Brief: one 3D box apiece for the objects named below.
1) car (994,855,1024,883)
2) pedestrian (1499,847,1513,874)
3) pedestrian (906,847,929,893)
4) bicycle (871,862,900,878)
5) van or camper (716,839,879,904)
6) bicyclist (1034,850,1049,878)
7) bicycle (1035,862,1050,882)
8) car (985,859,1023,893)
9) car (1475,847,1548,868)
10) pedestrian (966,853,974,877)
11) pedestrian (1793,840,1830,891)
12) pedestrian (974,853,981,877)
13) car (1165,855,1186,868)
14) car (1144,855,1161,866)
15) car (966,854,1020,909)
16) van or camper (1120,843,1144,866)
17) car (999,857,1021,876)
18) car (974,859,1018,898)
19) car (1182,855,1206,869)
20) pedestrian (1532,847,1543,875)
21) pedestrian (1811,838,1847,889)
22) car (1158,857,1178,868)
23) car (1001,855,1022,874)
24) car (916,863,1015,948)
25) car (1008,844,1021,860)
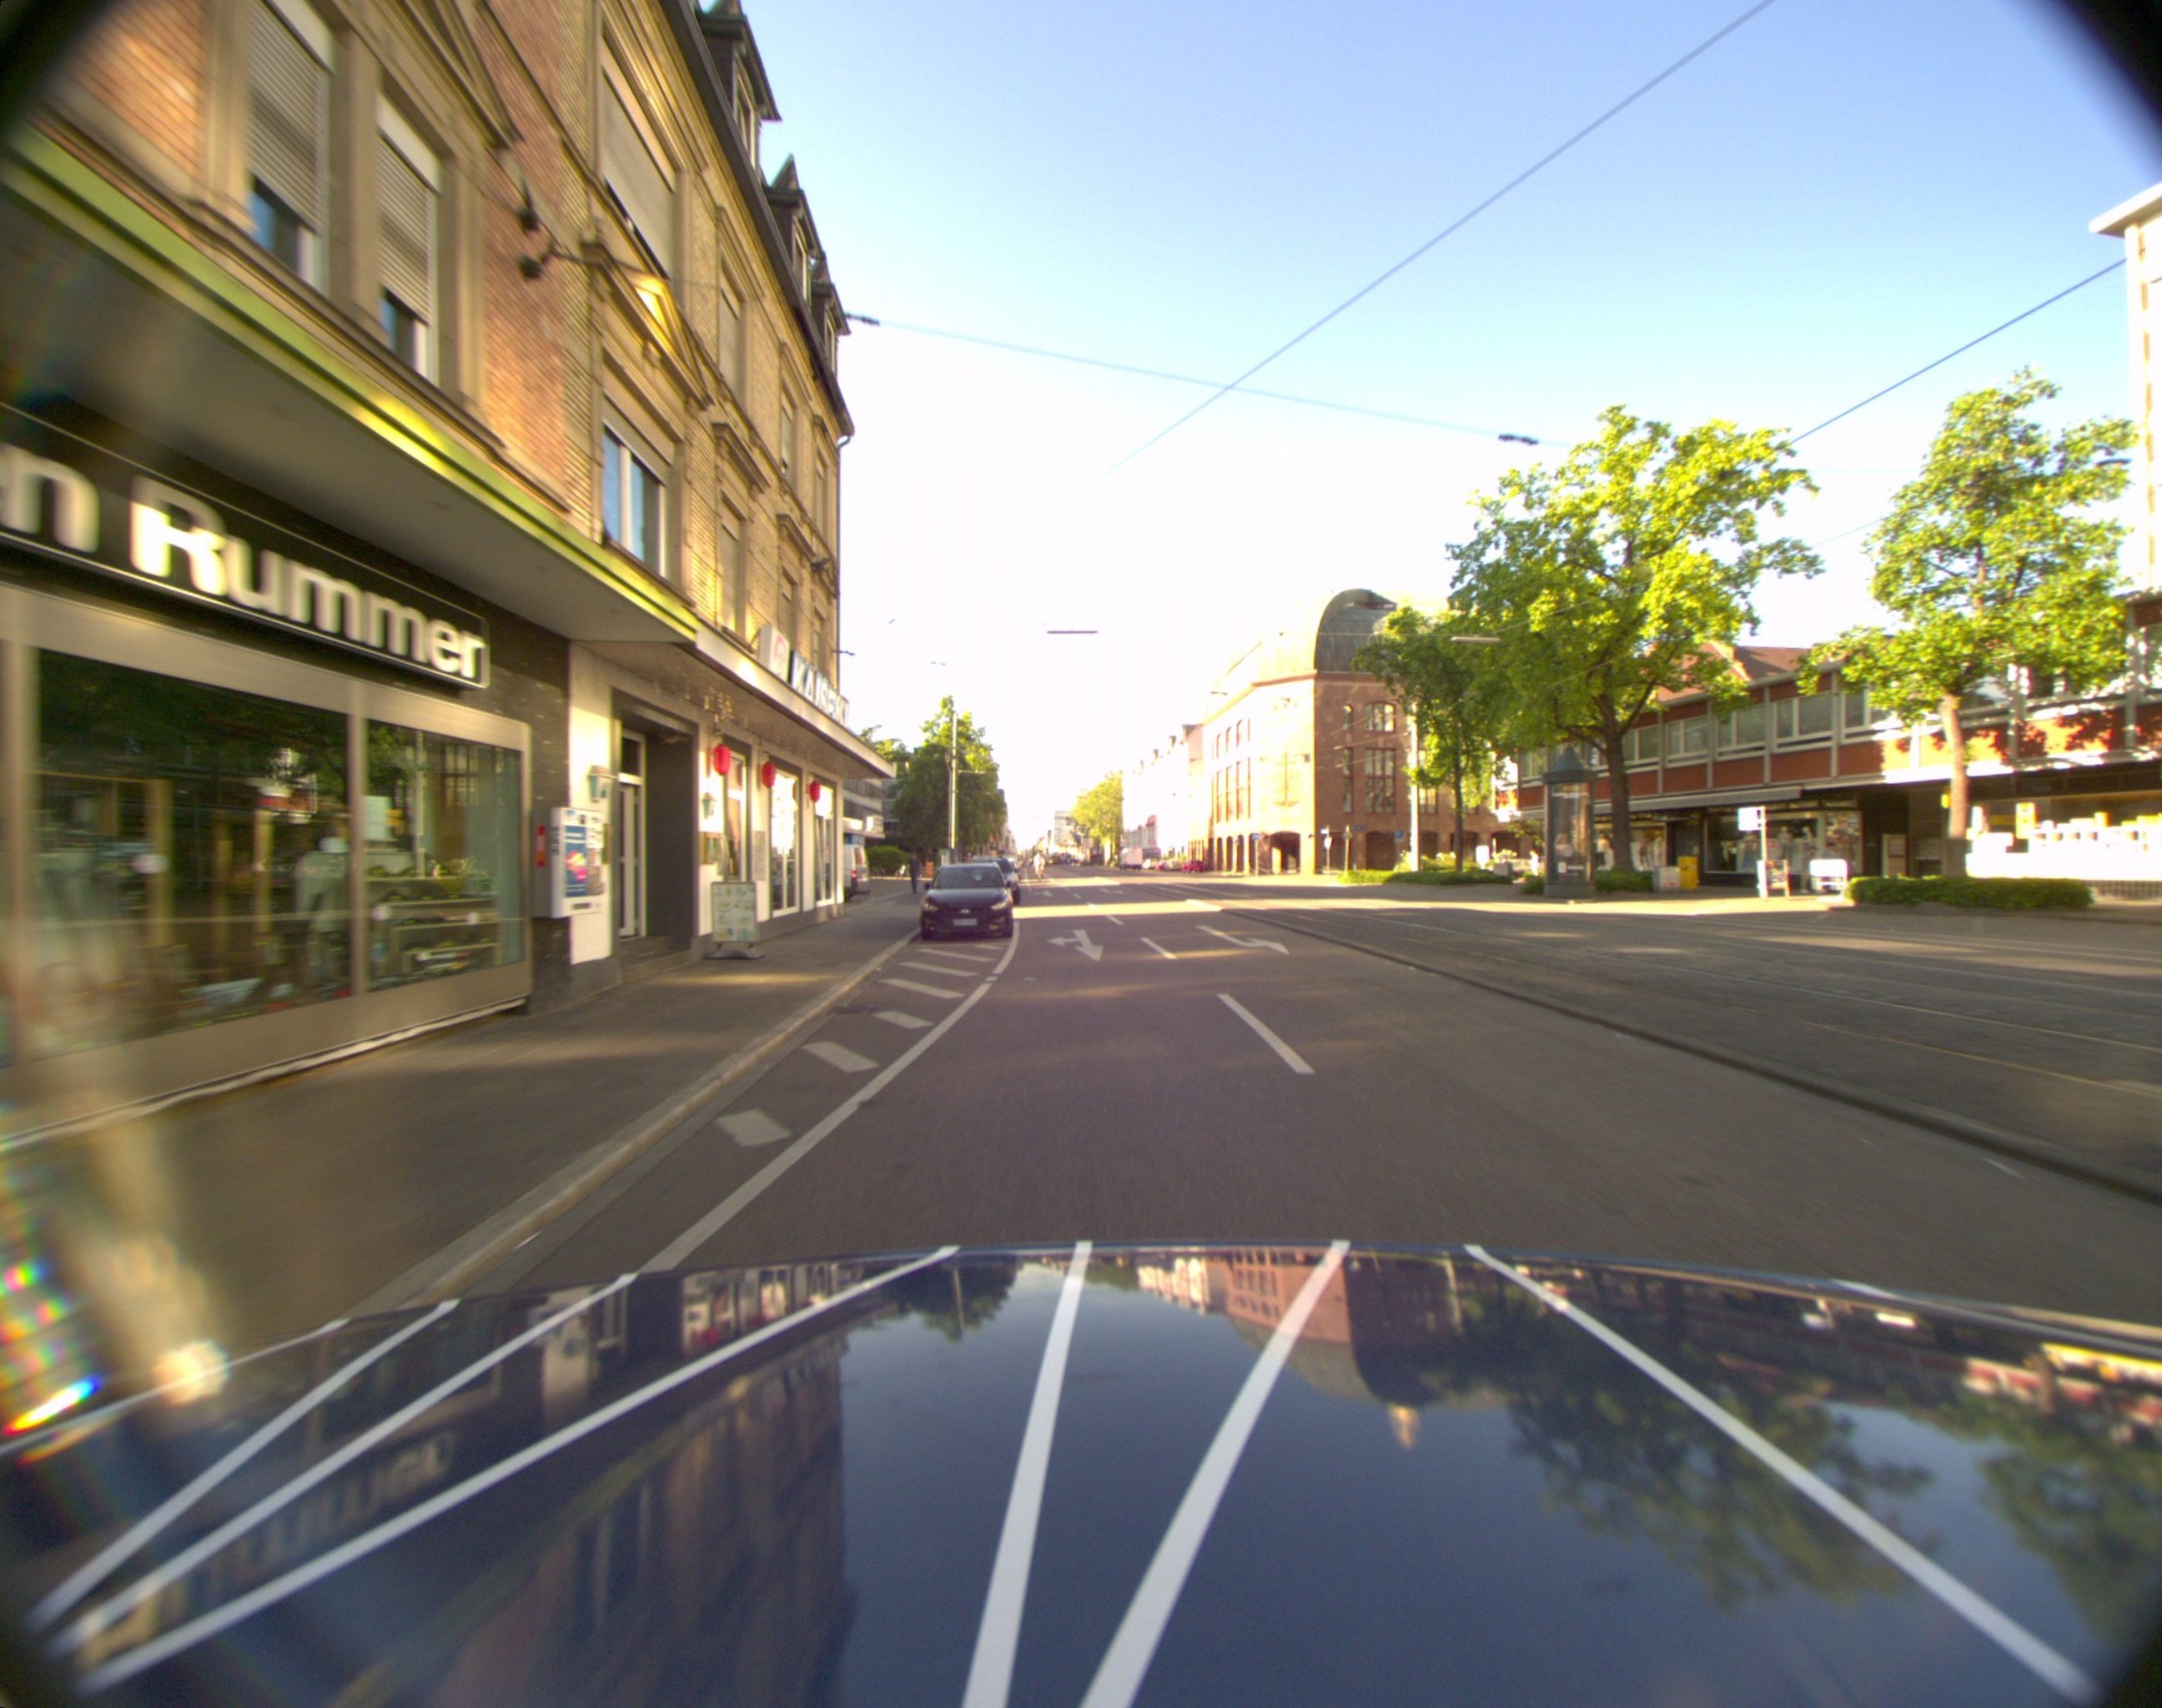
[{"bbox_3d":[-4.594,0.923,49.034,1.734,1.475,4.925,-2,2,-4],"label":"car"},{"bbox_3d":[24.908,0.382,44.499,0.447,1.583,0.722,0,0,5],"label":"pedestrian"},{"bbox_3d":[-7.052,0.666,32.783,0.686,1.901,1.062,-2,2,-1],"label":"pedestrian"},{"bbox_3d":[-13.052,1.064,50.698,1.807,0.960,0.572,2,1,-4],"label":"bicycle"},{"bbox_3d":[-9.471,0.577,25.655,4.704,1.922,2.000,2,0,0],"label":"van or camper"},{"bbox_3d":[-2.509,0.634,48.601,0.896,1.755,1.029,-2,2,-4],"label":"bicyclist"},{"bbox_3d":[-2.492,1.111,48.667,0.889,1.155,2.077,-2,1,-4],"label":"bicycle"},{"bbox_3d":[-3.784,1.052,37.727,1.703,1.474,4.224,-2,1,-4],"label":"car"},{"bbox_3d":[31.391,0.232,55.494,4.273,1.521,1.999,0,0,-5],"label":"car"},{"bbox_3d":[-9.359,0.955,63.983,0.508,2.002,0.574,-2,2,-4],"label":"pedestrian"},{"bbox_3d":[25.657,0.408,26.693,0.574,1.761,0.706,0,1,-3],"label":"pedestrian"},{"bbox_3d":[-8.728,0.904,64.018,0.508,2.002,0.574,-2,2,-4],"label":"pedestrian"},{"bbox_3d":[11.466,0.921,92.137,1.856,1.445,3.852,-1,0,-4],"label":"car"},{"bbox_3d":[10.214,0.950,108.386,1.856,1.445,3.852,-1,0,-4],"label":"car"},{"bbox_3d":[-3.078,0.905,27.275,1.695,1.703,4.613,-2,1,-5],"label":"car"},{"bbox_3d":[6.358,0.023,94.970,2.042,2.723,7.017,1,0,-4],"label":"van or camper"},{"bbox_3d":[-5.850,0.979,62.540,1.734,1.474,3.862,-2,0,-6],"label":"car"},{"bbox_3d":[-3.607,1.002,32.709,1.719,1.446,3.776,-2,1,-4],"label":"car"},{"bbox_3d":[12.291,0.857,82.515,1.754,1.445,3.469,-1,0,-6],"label":"car"},{"bbox_3d":[26.590,0.402,44.259,0.446,1.583,0.723,0,0,21],"label":"pedestrian"},{"bbox_3d":[26.310,0.328,26.726,0.574,1.740,0.706,0,1,-3],"label":"pedestrian"},{"bbox_3d":[11.035,1.029,97.048,1.856,1.346,3.852,-1,0,-4],"label":"car"},{"bbox_3d":[-6.177,0.911,67.586,1.734,1.568,4.113,-2,1,-4],"label":"car"},{"bbox_3d":[-2.301,0.968,16.086,1.695,1.442,4.358,-2,0,-4],"label":"car"},{"bbox_3d":[-9.071,-0.280,103.757,1.734,2.038,4.113,-2,2,-4],"label":"car"}]
